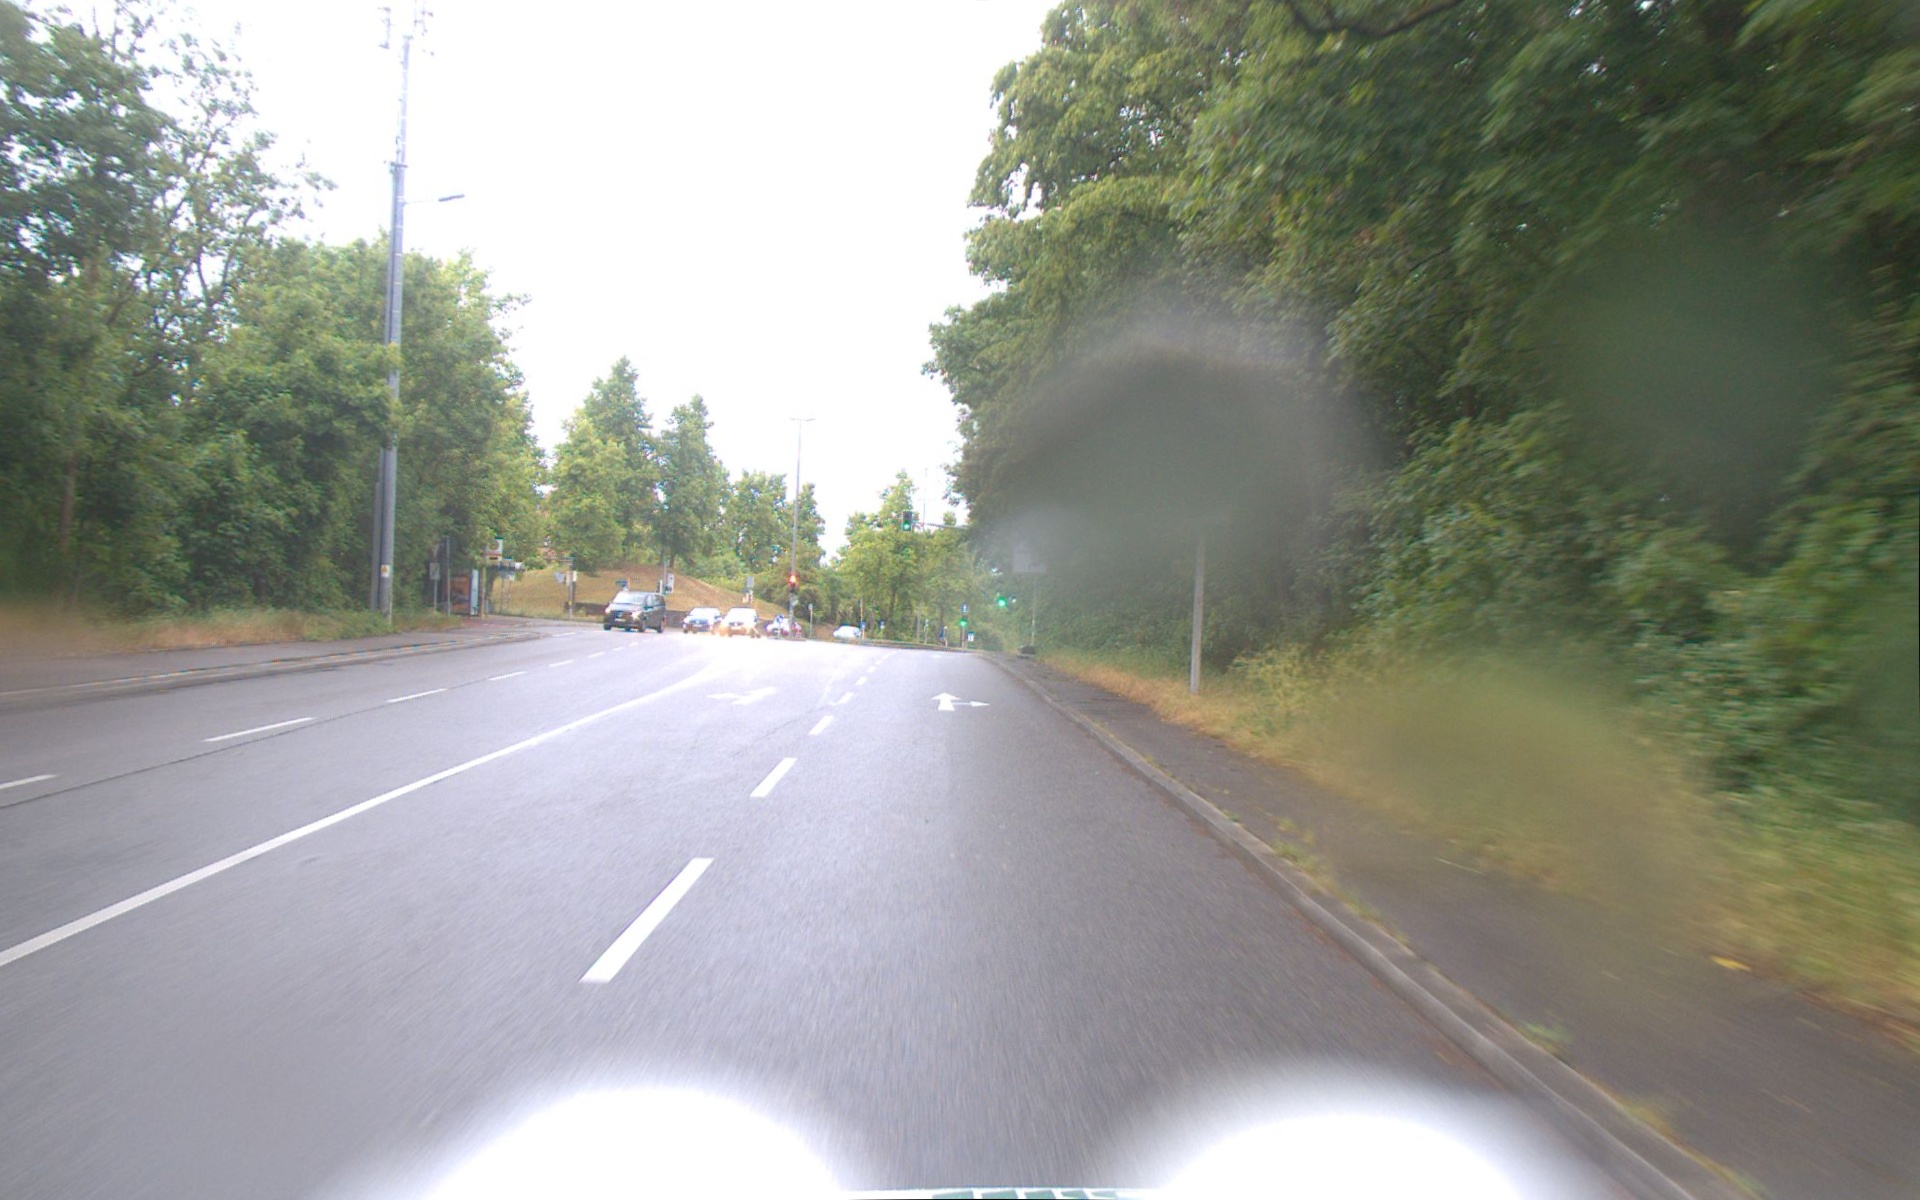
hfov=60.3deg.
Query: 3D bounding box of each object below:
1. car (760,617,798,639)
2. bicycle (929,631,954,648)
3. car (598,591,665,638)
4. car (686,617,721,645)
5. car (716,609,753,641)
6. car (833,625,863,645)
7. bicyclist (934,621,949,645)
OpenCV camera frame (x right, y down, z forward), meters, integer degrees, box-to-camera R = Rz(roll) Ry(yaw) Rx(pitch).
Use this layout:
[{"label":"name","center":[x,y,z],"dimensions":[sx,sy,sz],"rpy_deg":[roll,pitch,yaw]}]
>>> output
[{"label":"car","center":[-12.439,1.898,114.051],"dimensions":[1.836,1.398,4.386],"rpy_deg":[2,0,3]},{"label":"bicycle","center":[-1.450,3.073,128.450],"dimensions":[2.123,1.163,0.545],"rpy_deg":[6,-3,-44]},{"label":"car","center":[-15.624,0.685,78.858],"dimensions":[2.060,1.979,5.159],"rpy_deg":[5,-1,-1]},{"label":"car","center":[-13.908,1.660,89.676],"dimensions":[1.599,1.419,3.995],"rpy_deg":[2,-1,-6]},{"label":"car","center":[-11.296,1.246,82.976],"dimensions":[1.668,1.452,4.072],"rpy_deg":[3,-1,-7]},{"label":"car","center":[-9.091,2.833,134.230],"dimensions":[1.952,1.517,3.938],"rpy_deg":[1,-1,2]},{"label":"bicyclist","center":[-1.445,2.597,128.503],"dimensions":[0.795,1.783,0.713],"rpy_deg":[7,-7,-43]}]
